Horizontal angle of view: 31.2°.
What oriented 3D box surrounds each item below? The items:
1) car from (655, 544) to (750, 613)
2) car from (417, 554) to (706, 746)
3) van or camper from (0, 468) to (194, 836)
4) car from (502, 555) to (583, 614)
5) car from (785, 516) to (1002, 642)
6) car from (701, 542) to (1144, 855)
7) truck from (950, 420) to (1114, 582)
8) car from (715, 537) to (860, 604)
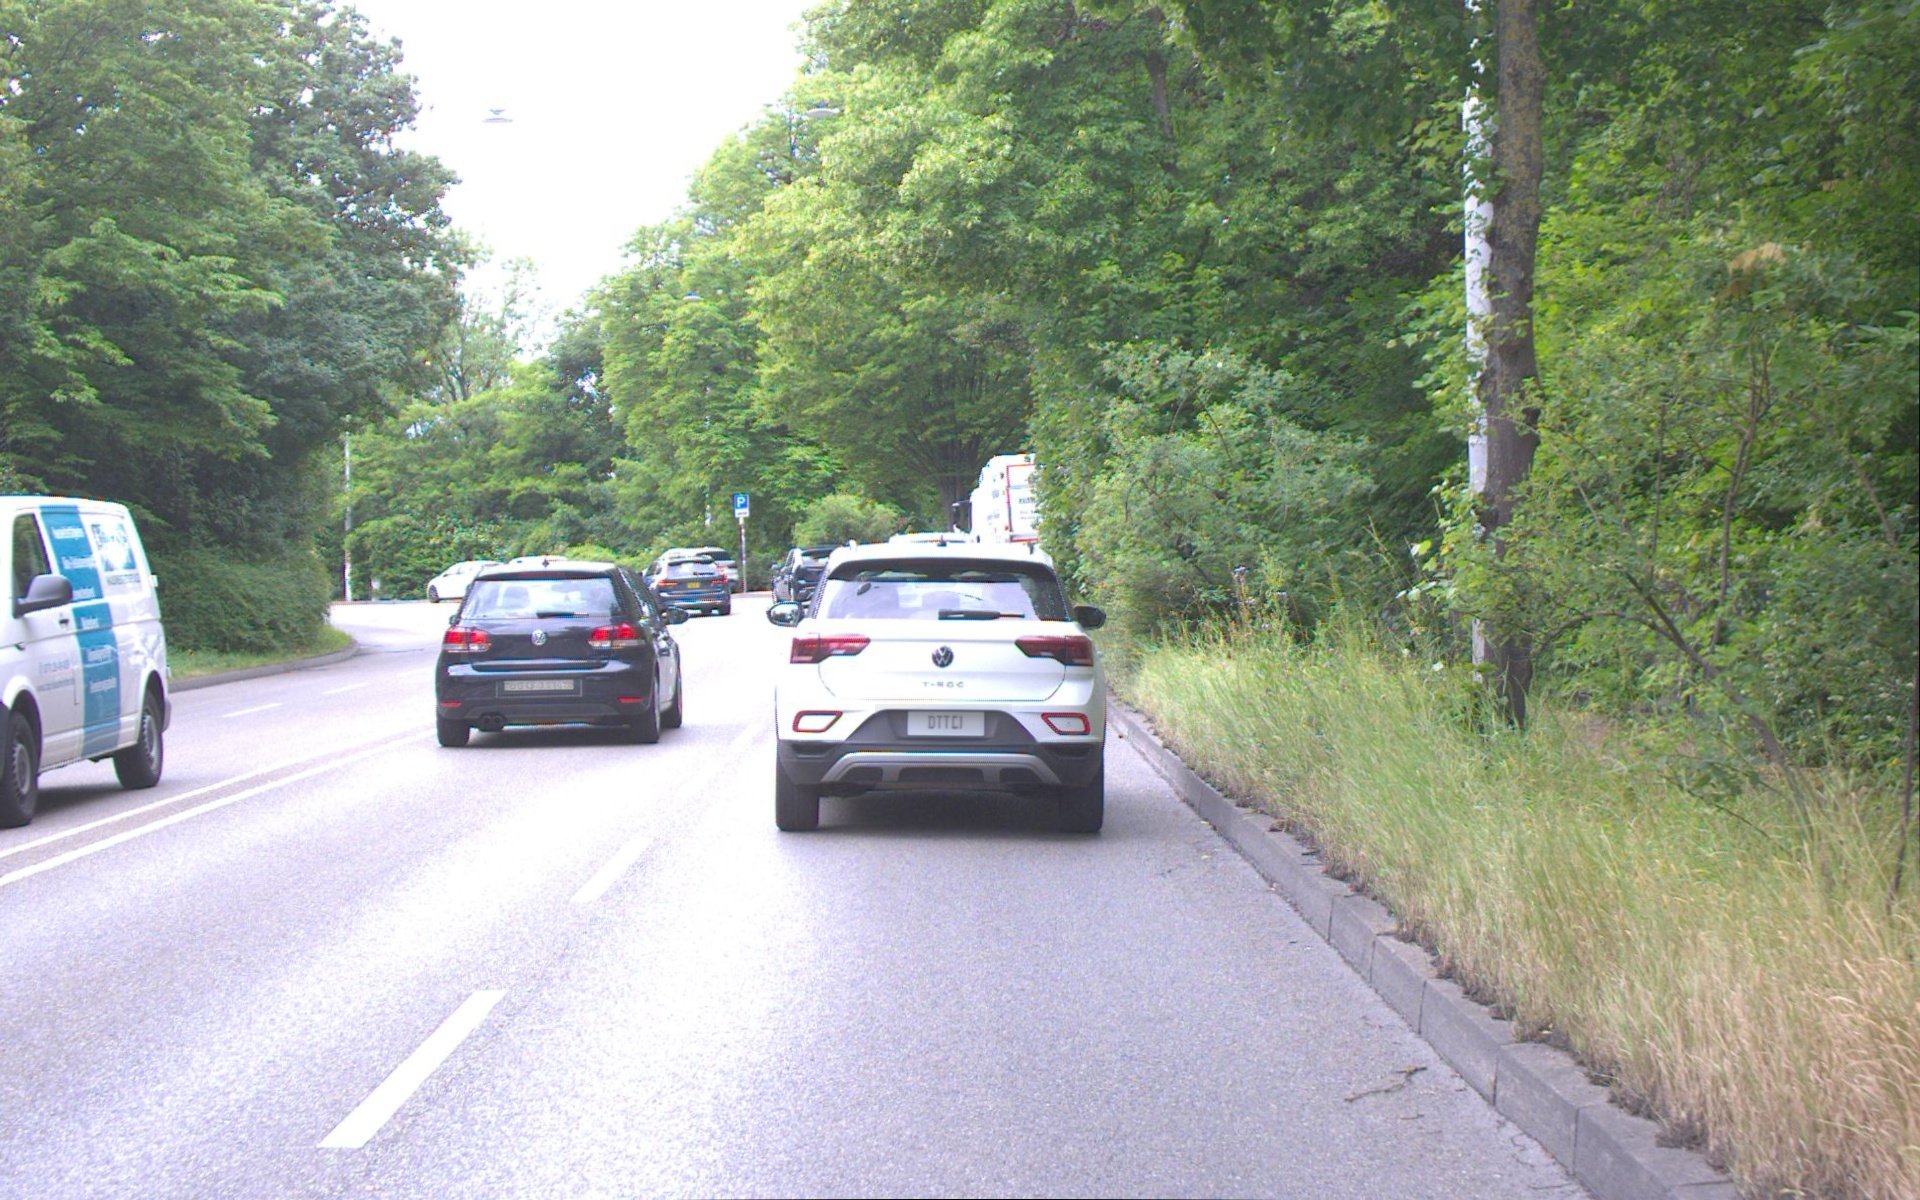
[{"bbox_3d":[-6.086,-0.524,81.725,1.993,1.586,4.000,0,0,-1],"label":"car"},{"bbox_3d":[-3.203,0.370,28.359,1.949,1.461,4.000,0,0,-1],"label":"car"},{"bbox_3d":[-6.315,0.322,21.225,1.993,2.007,5.369,-4,1,-2],"label":"van or camper"},{"bbox_3d":[-11.815,-0.453,97.443,1.821,1.617,4.000,0,0,-1],"label":"car"},{"bbox_3d":[-1.046,-0.329,51.445,1.851,1.697,4.001,-4,2,-22],"label":"car"},{"bbox_3d":[-0.333,0.490,19.585,2.000,1.590,4.001,0,0,-8],"label":"car"},{"bbox_3d":[1.497,-2.101,75.488,2.481,3.171,7.230,5,0,-6],"label":"truck"},{"bbox_3d":[-4.242,-0.727,84.102,1.766,1.601,4.000,0,0,-33],"label":"car"}]
